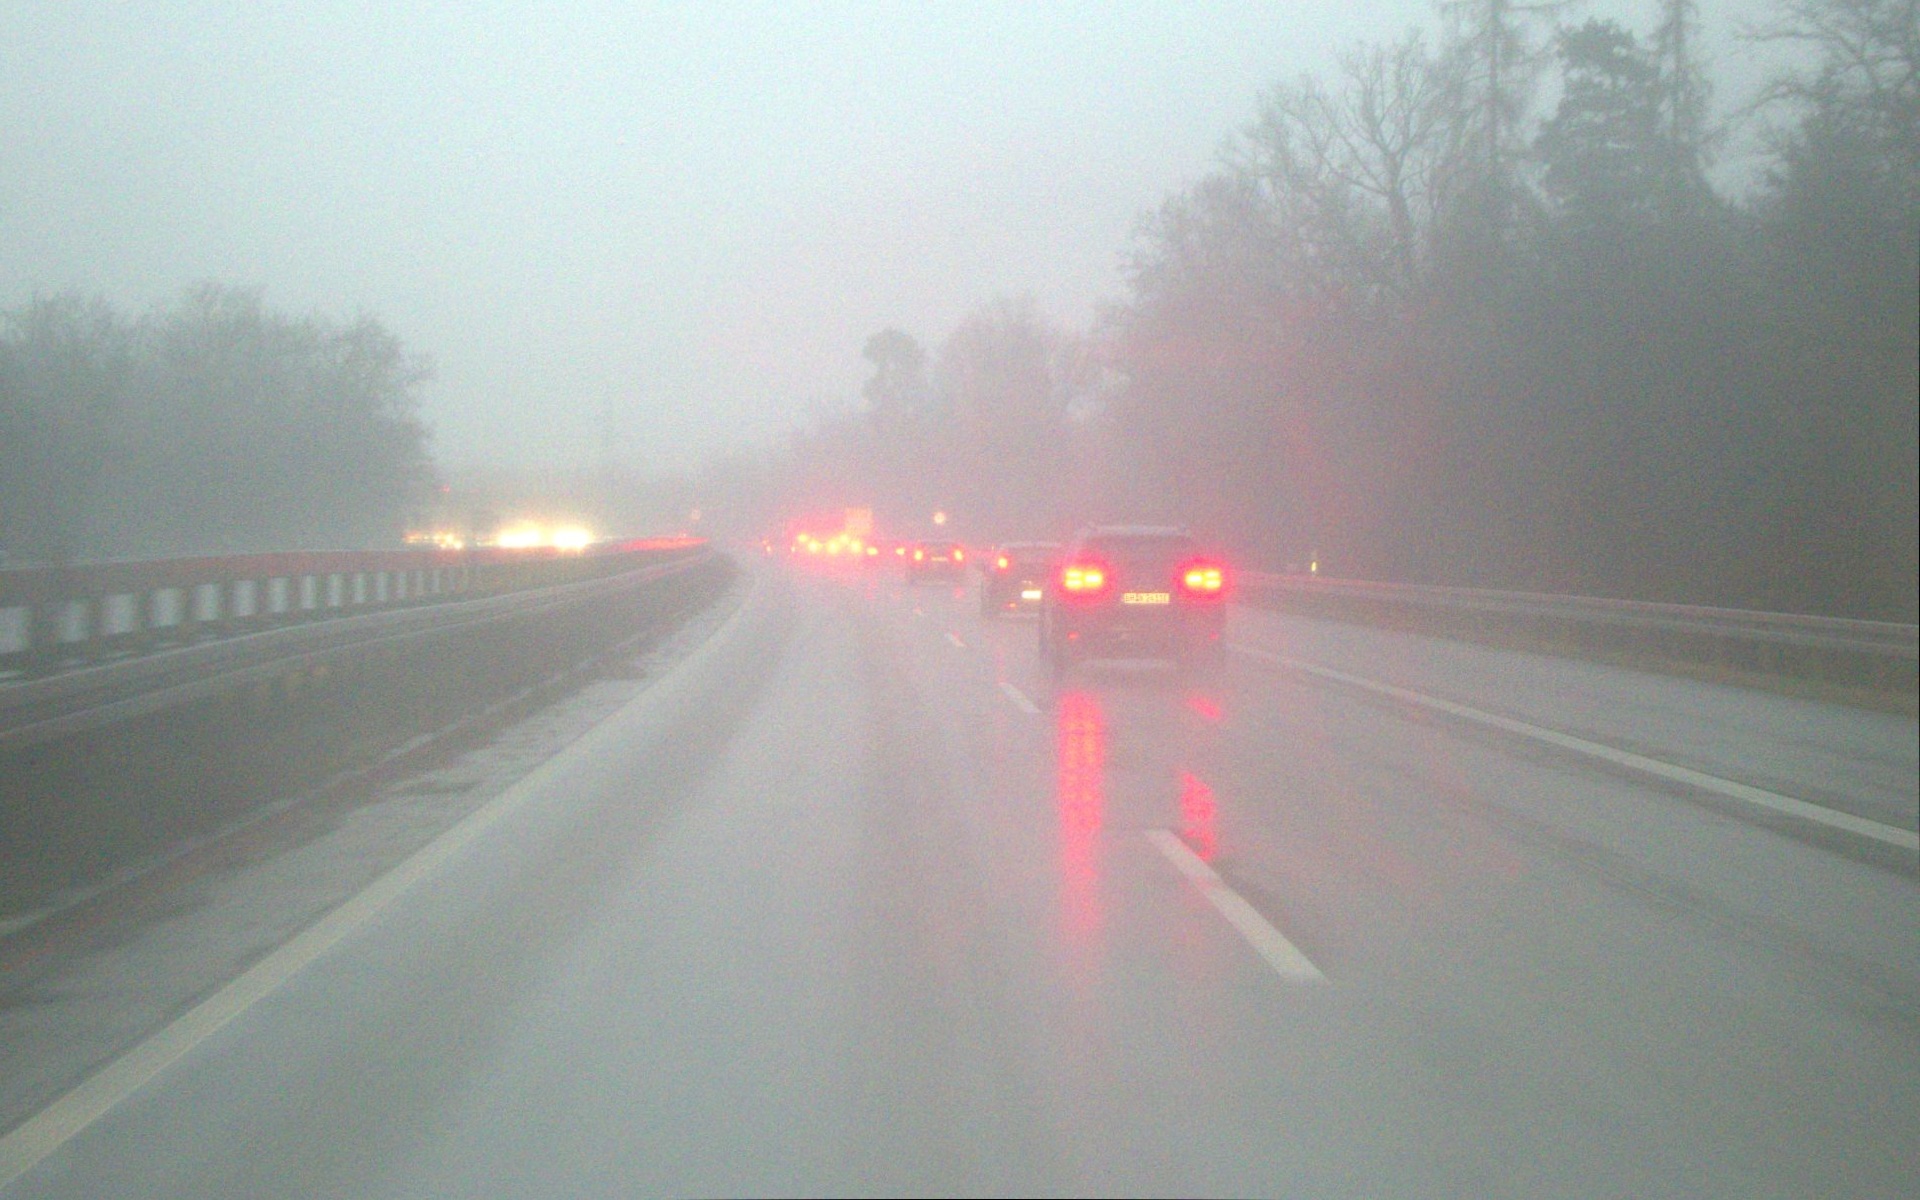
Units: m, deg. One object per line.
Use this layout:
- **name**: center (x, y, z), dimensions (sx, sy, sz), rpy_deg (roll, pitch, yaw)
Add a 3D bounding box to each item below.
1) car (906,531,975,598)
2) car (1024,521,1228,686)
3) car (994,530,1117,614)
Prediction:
- **car**: center (-0.617, -1.110, 105.902), dimensions (1.993, 2.007, 4.000), rpy_deg (1, 1, -2)
- **car**: center (1.771, 0.017, 37.934), dimensions (1.992, 1.709, 3.830), rpy_deg (1, 1, -1)
- **car**: center (1.724, -0.517, 63.161), dimensions (1.993, 1.415, 4.000), rpy_deg (2, 0, -1)
